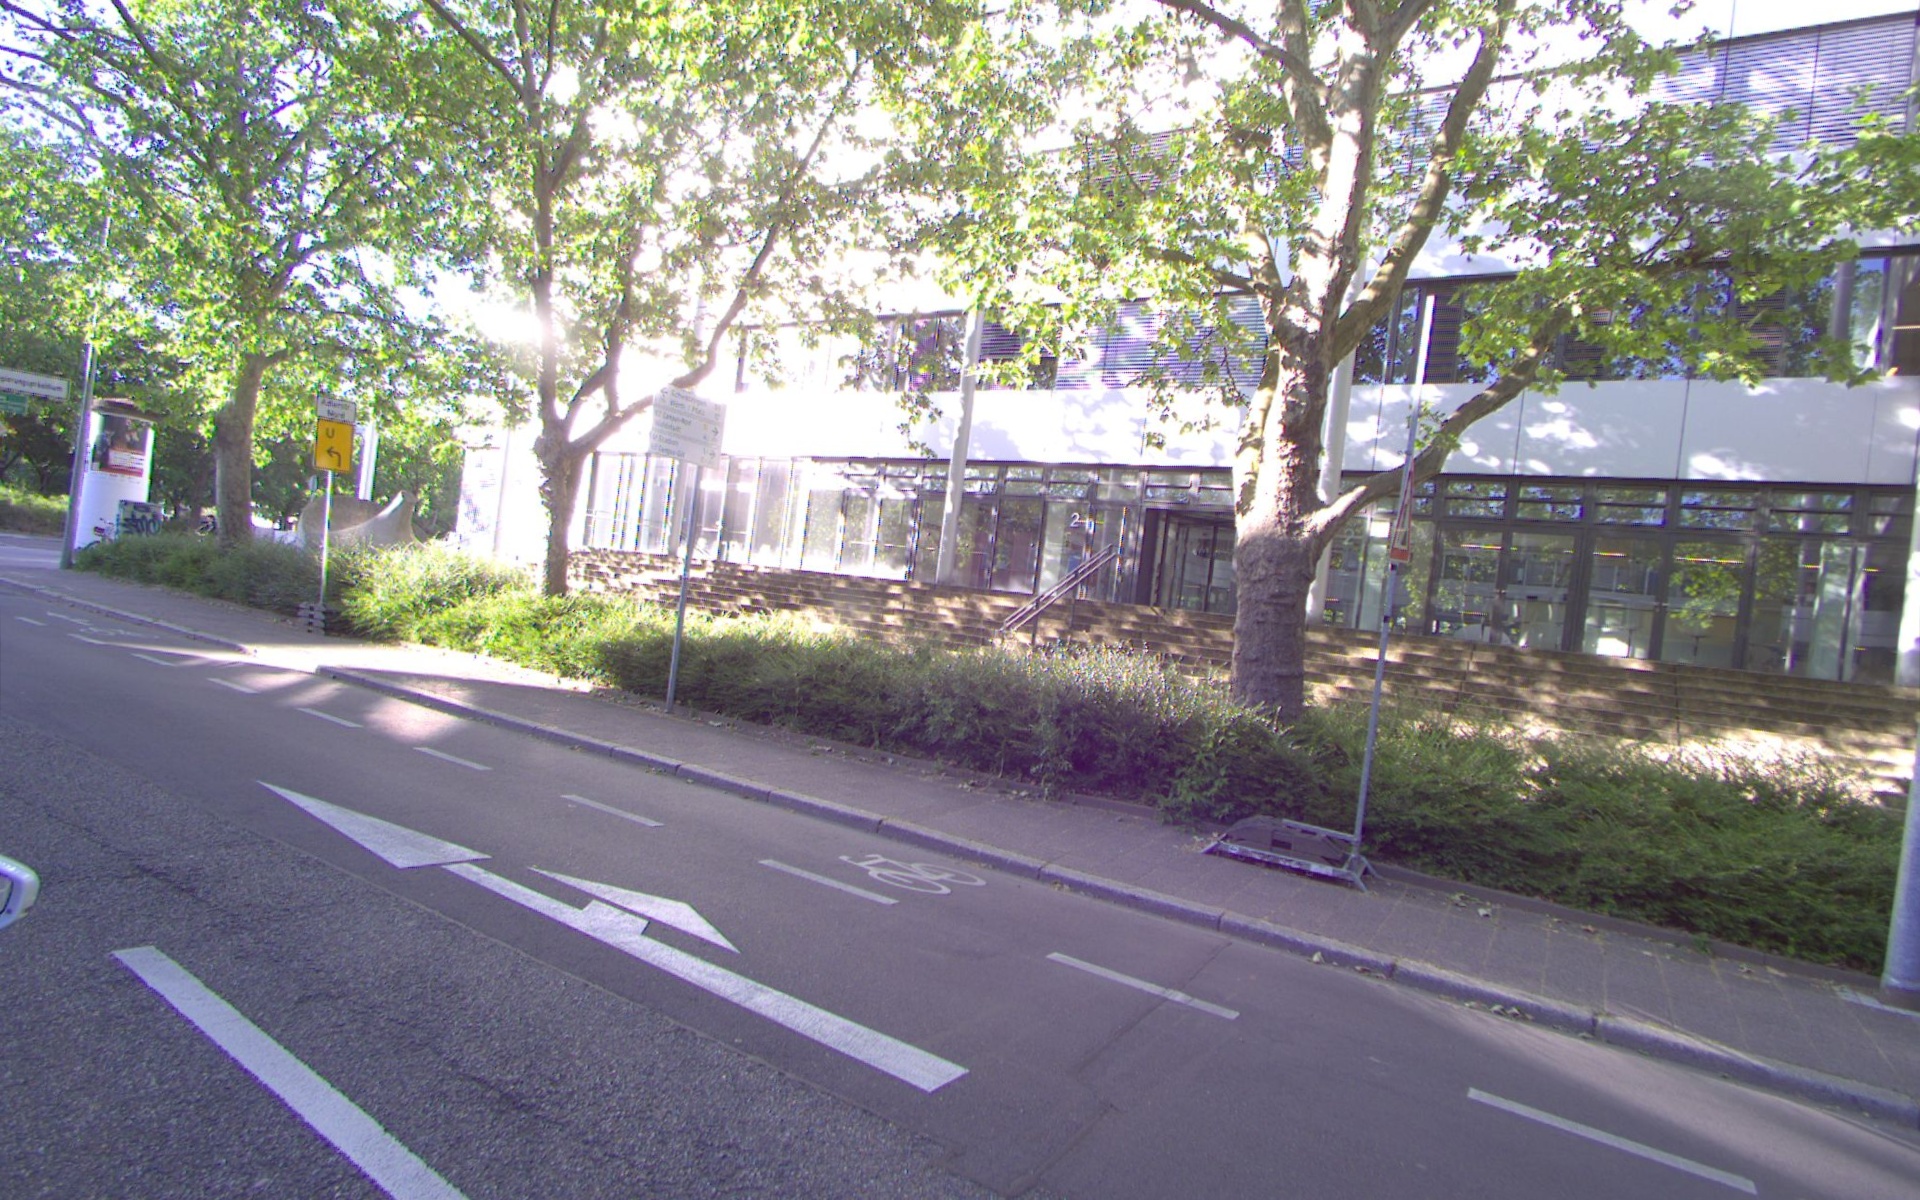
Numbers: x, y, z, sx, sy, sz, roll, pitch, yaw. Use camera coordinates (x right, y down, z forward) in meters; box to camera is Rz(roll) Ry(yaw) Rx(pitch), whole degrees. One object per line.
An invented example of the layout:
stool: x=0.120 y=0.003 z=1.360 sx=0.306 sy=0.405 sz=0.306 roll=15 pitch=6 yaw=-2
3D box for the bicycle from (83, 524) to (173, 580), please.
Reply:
bicycle: x=-19.098 y=-1.089 z=23.109 sx=0.529 sy=1.049 sz=1.418 roll=7 pitch=-1 yaw=28

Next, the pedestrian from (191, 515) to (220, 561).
pedestrian: x=-31.434 y=-2.578 z=41.925 sx=0.620 sy=1.805 sz=0.620 roll=7 pitch=0 yaw=34

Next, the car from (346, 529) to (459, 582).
car: x=-25.894 y=-2.057 z=46.814 sx=1.969 sy=1.805 sz=3.998 roll=7 pitch=-1 yaw=37
